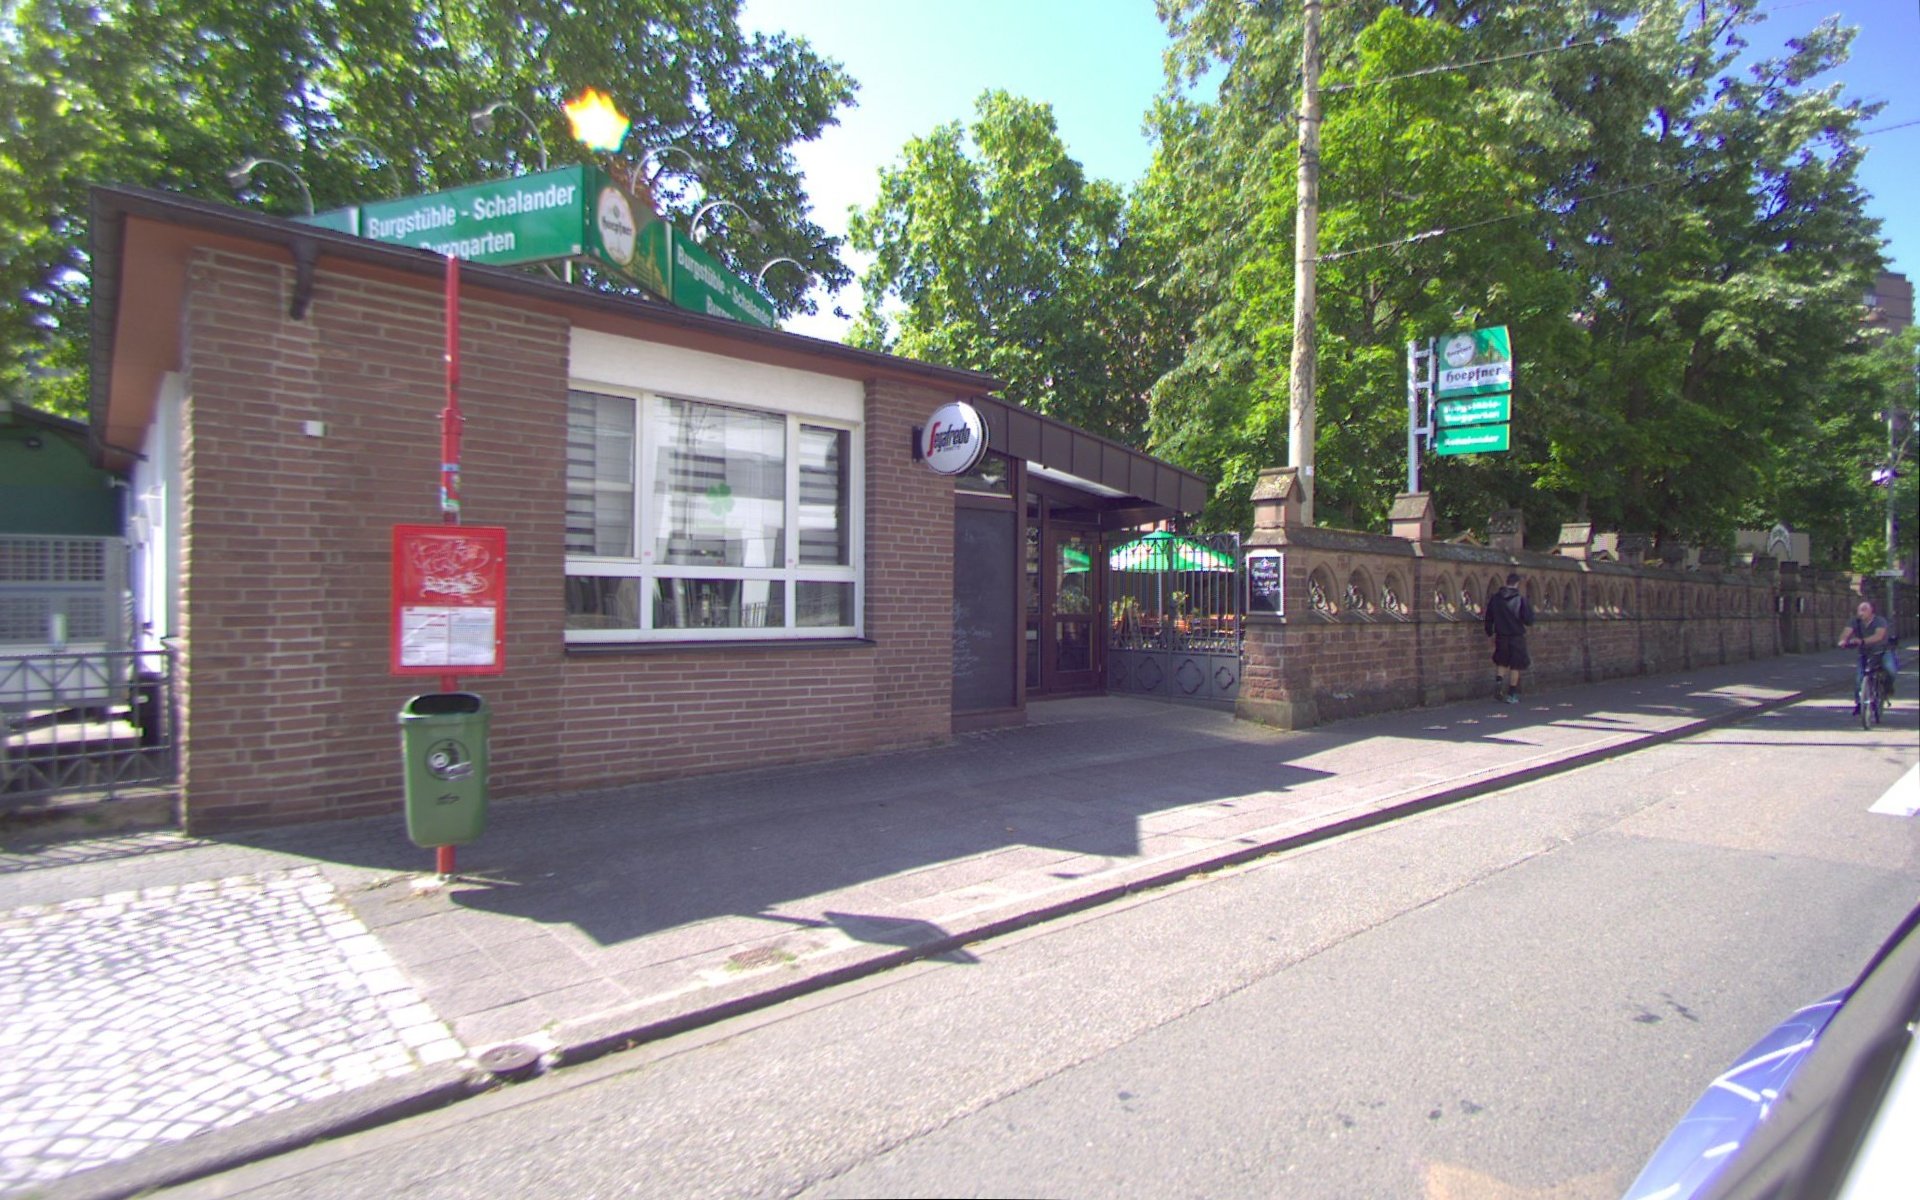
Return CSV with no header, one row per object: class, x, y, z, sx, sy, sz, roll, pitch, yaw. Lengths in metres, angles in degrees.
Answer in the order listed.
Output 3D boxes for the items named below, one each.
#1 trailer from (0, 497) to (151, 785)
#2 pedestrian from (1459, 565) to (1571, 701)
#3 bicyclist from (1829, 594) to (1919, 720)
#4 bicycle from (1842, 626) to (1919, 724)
trailer,-6.594,0.211,6.866,1.692,1.623,3.281,1,0,-39
pedestrian,8.033,0.449,14.644,1.164,1.838,0.979,1,3,-40
bicyclist,12.392,0.732,13.644,0.948,1.616,0.905,1,-1,-41
bicycle,12.611,0.989,13.790,2.087,1.212,0.610,1,-3,-43
